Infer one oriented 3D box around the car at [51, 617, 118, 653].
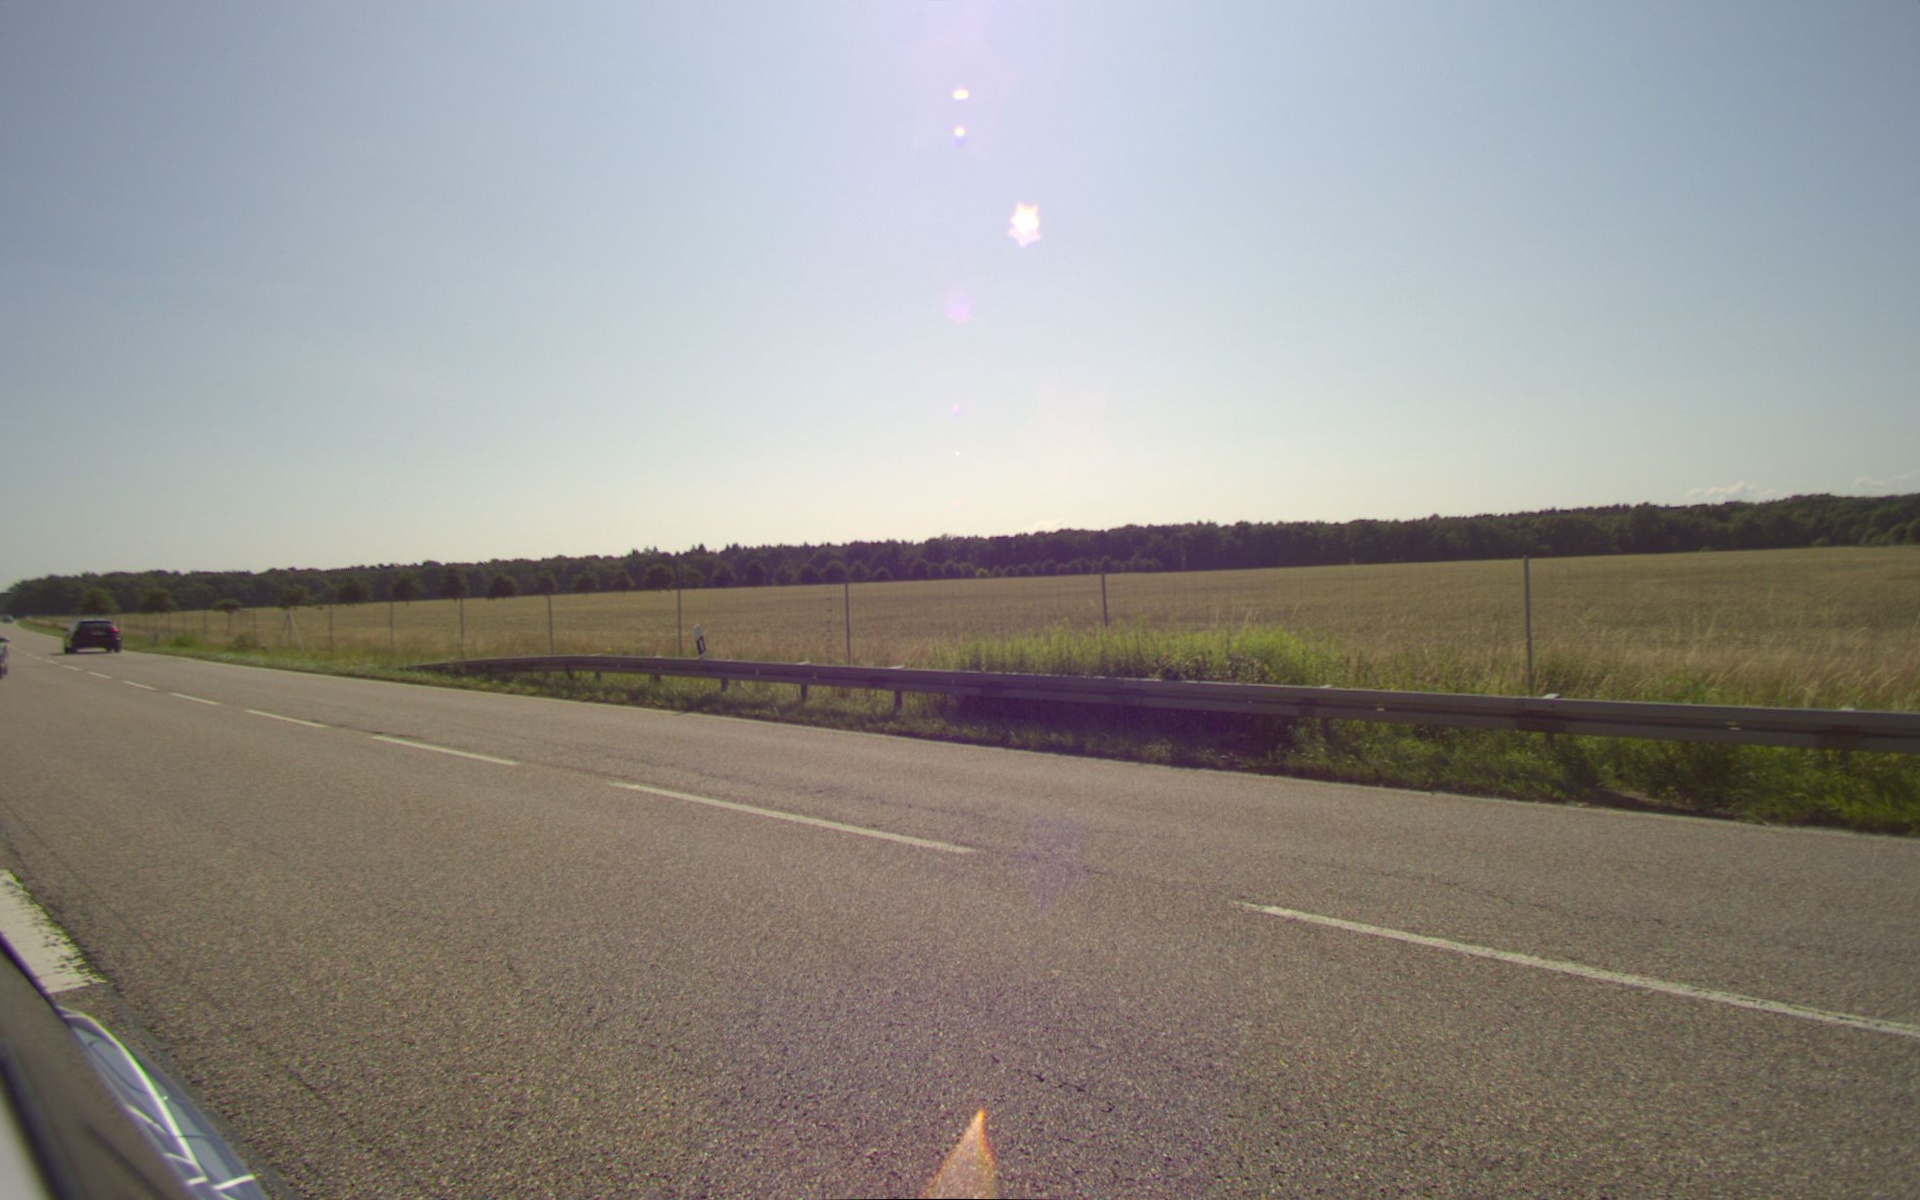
[{"bbox_3d":[-39.651,1.562,45.809,4.161,1.519,1.809,-1,-1,42],"label":"car"}]
